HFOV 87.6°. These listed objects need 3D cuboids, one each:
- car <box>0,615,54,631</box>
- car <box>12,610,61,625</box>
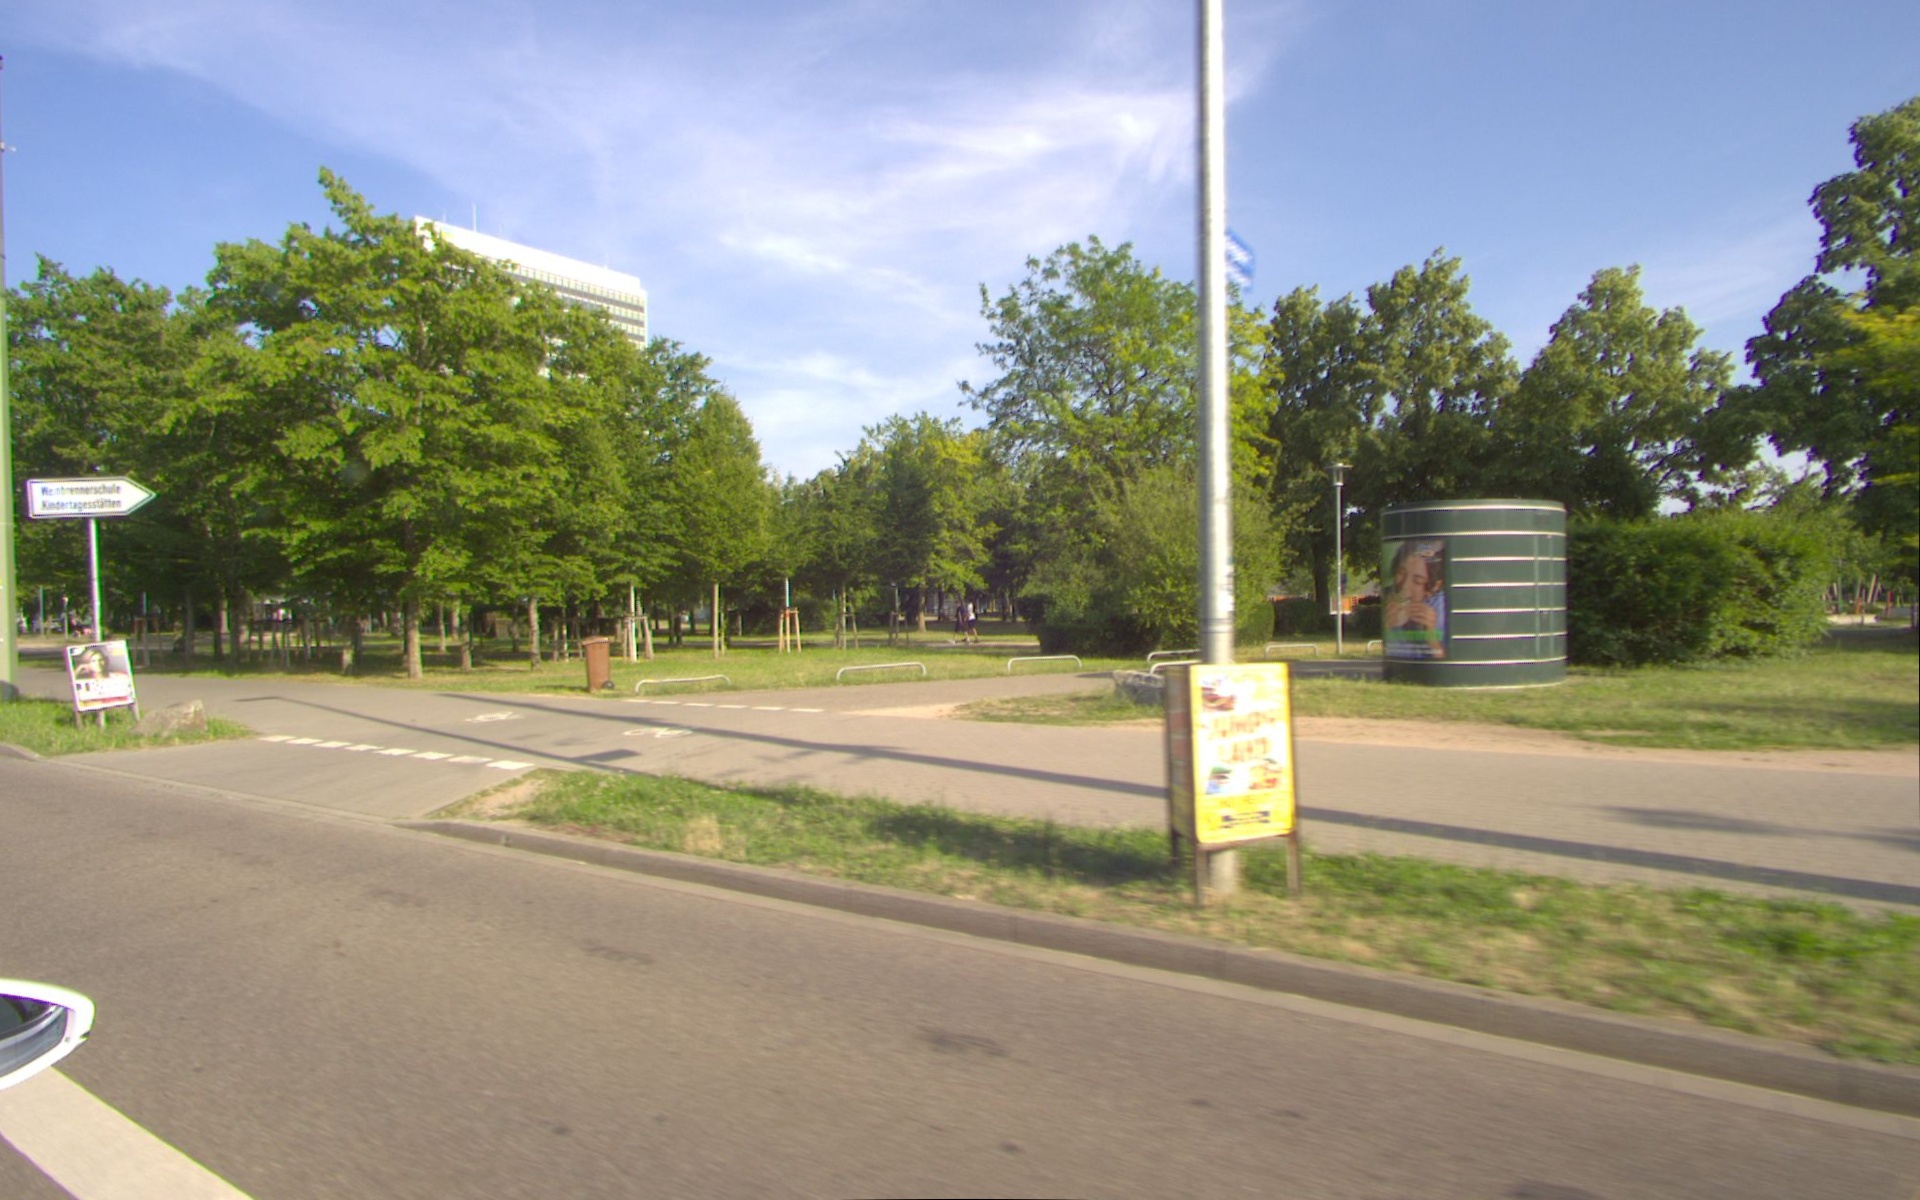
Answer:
[{"bbox_3d":[-100.424,2.464,107.794,1.961,1.673,3.999,-1,0,6],"label":"car"},{"bbox_3d":[-103.909,1.951,112.669,3.959,1.673,1.981,-1,0,-43],"label":"car"}]
